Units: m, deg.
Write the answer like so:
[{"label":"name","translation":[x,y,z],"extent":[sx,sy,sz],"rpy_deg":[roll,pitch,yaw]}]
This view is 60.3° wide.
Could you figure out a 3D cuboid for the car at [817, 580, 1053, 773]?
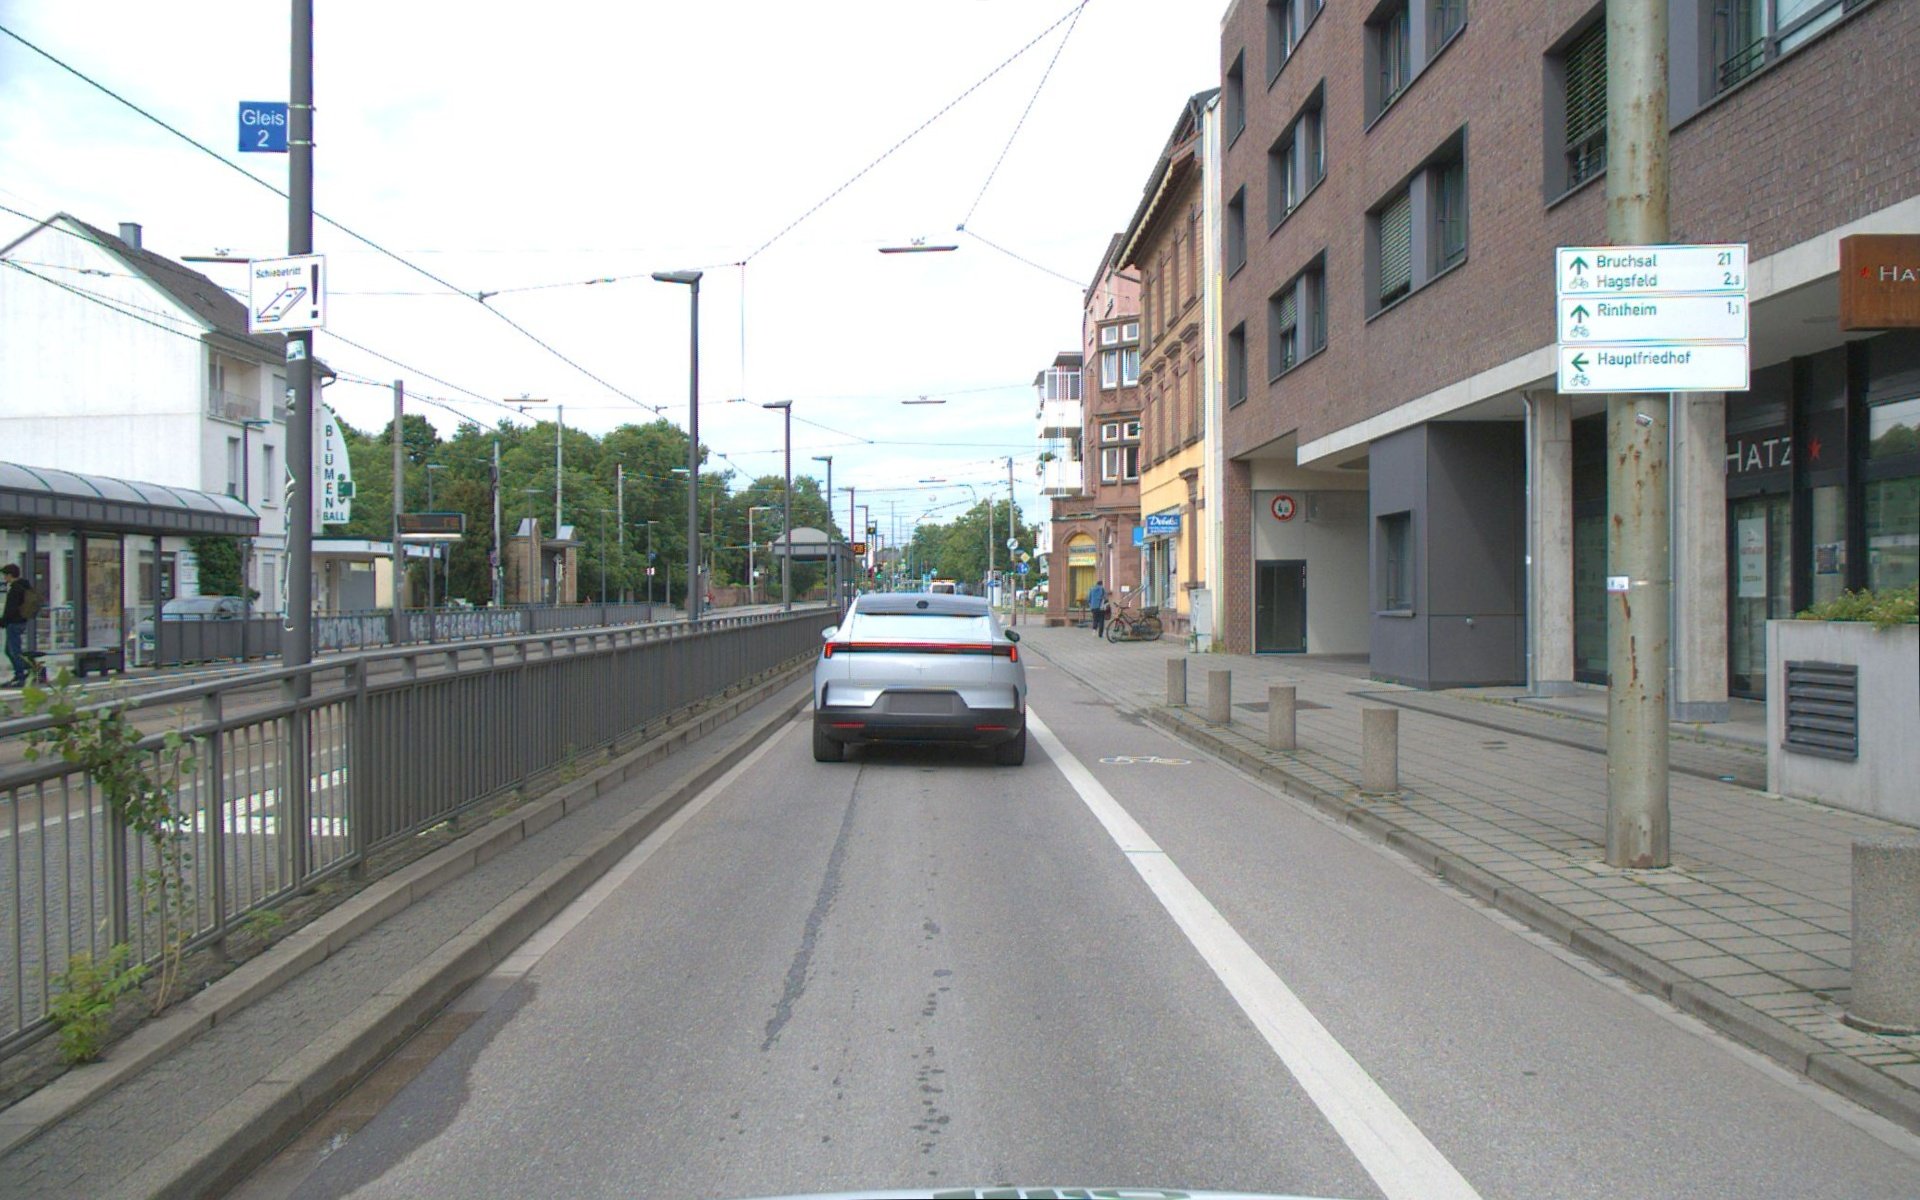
[{"label":"car","translation":[-0.375,0.660,15.903],"extent":[1.960,1.608,3.995],"rpy_deg":[1,-1,-5]}]

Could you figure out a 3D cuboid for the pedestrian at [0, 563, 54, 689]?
[{"label":"pedestrian","translation":[-12.851,0.352,22.652],"extent":[0.689,1.694,0.609],"rpy_deg":[1,-1,-36]}]

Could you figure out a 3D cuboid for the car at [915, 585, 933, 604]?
[{"label":"car","translation":[-4.022,-0.657,183.045],"extent":[1.953,2.049,3.999],"rpy_deg":[0,0,-1]}]

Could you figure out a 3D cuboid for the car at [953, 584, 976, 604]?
[{"label":"car","translation":[0.559,-0.750,208.470],"extent":[2.750,2.549,5.721],"rpy_deg":[0,0,-1]}]

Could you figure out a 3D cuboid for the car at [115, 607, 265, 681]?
[{"label":"car","translation":[-16.417,0.907,35.468],"extent":[1.729,1.477,3.994],"rpy_deg":[0,-1,-7]}]

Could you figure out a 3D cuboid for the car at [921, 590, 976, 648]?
[{"label":"car","translation":[-0.363,0.564,51.219],"extent":[1.647,1.717,3.823],"rpy_deg":[0,0,-1]}]

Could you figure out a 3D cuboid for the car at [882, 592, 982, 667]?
[{"label":"car","translation":[-0.633,0.567,34.774],"extent":[1.953,1.444,3.998],"rpy_deg":[-1,0,-2]}]

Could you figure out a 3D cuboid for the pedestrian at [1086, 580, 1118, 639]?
[{"label":"pedestrian","translation":[4.657,0.312,54.253],"extent":[0.940,1.882,0.976],"rpy_deg":[-2,1,5]}]

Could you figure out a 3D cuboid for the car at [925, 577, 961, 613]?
[{"label":"car","translation":[-1.206,-0.324,116.019],"extent":[2.182,2.444,5.118],"rpy_deg":[0,0,-4]}]

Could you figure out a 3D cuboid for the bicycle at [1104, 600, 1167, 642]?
[{"label":"bicycle","translation":[5.225,0.617,49.210],"extent":[1.742,1.149,0.642],"rpy_deg":[-3,0,-2]}]
